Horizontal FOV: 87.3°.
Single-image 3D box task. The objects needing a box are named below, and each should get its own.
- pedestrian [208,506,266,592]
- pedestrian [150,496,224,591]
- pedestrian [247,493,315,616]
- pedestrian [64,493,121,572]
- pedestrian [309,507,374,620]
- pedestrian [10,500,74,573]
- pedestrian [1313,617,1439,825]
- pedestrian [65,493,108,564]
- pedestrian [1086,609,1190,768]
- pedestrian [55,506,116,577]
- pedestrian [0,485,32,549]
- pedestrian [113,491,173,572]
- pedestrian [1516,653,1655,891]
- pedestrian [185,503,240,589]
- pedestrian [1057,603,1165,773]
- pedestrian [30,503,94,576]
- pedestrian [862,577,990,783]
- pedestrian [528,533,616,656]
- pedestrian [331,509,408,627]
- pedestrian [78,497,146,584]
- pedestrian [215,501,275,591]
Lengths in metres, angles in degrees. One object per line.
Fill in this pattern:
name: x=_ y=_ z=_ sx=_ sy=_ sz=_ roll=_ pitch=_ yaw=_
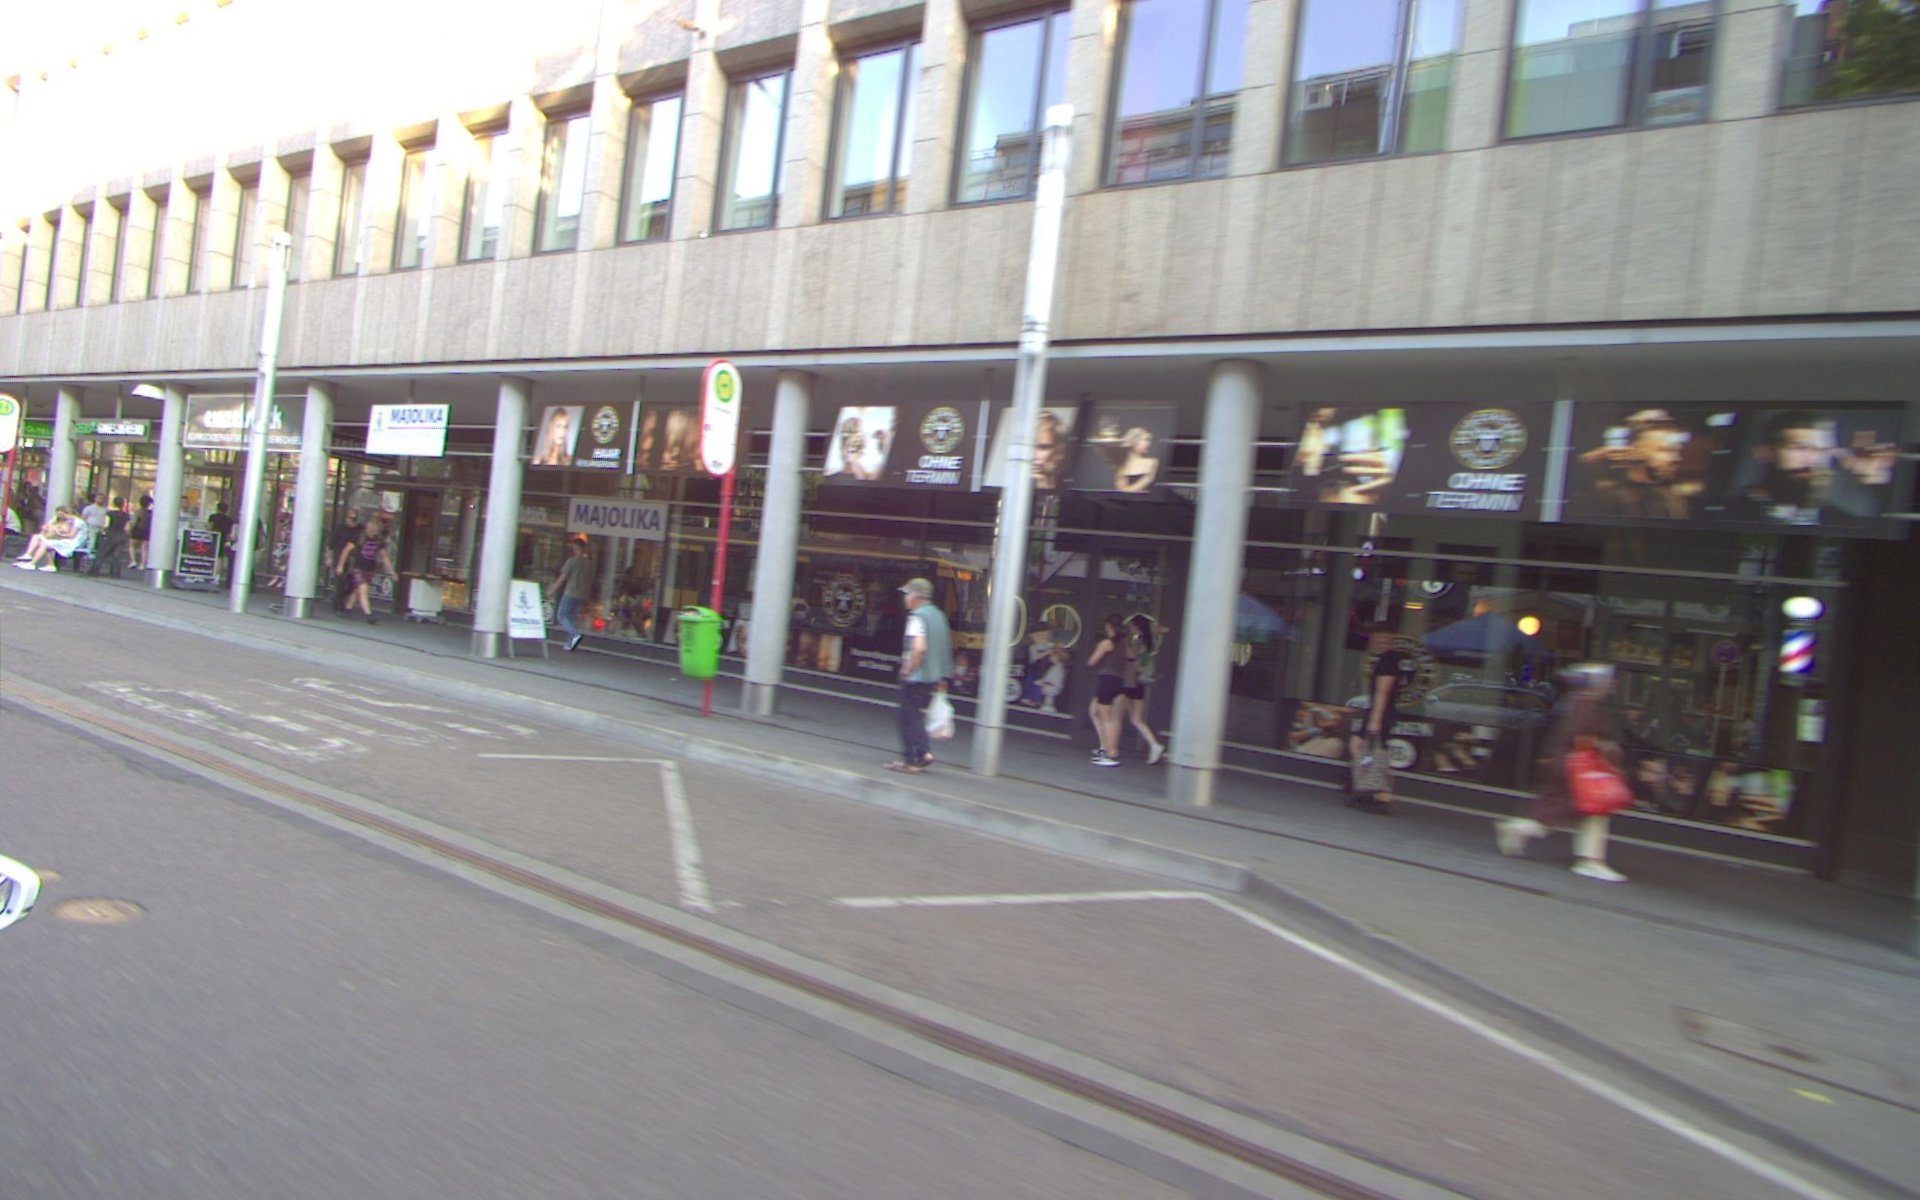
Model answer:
pedestrian: x=-15.151 y=-1.059 z=21.081 sx=0.669 sy=1.682 sz=0.648 roll=7 pitch=1 yaw=32
pedestrian: x=-15.981 y=-1.158 z=20.808 sx=0.844 sy=1.820 sz=0.845 roll=6 pitch=1 yaw=31
pedestrian: x=-11.389 y=-0.763 z=16.873 sx=0.644 sy=1.968 sz=0.578 roll=6 pitch=1 yaw=30
pedestrian: x=-19.616 y=-1.522 z=22.751 sx=0.710 sy=1.682 sz=0.688 roll=6 pitch=1 yaw=32
pedestrian: x=-11.093 y=-0.649 z=18.049 sx=0.672 sy=1.913 sz=0.616 roll=6 pitch=1 yaw=32
pedestrian: x=-18.381 y=-1.267 z=20.149 sx=0.523 sy=1.330 sz=0.719 roll=6 pitch=-1 yaw=32
pedestrian: x=3.941 y=1.110 z=9.520 sx=0.849 sy=1.794 sz=0.674 roll=6 pitch=1 yaw=30
pedestrian: x=-22.621 y=-1.850 z=26.050 sx=0.607 sy=1.753 sz=0.571 roll=7 pitch=1 yaw=29
pedestrian: x=2.028 y=0.985 z=11.430 sx=0.805 sy=1.664 sz=0.711 roll=6 pitch=1 yaw=29
pedestrian: x=-18.108 y=-1.208 z=20.845 sx=0.523 sy=1.330 sz=0.719 roll=6 pitch=-1 yaw=32
pedestrian: x=-27.206 y=-2.389 z=28.861 sx=0.607 sy=1.753 sz=0.571 roll=7 pitch=1 yaw=29
pedestrian: x=-19.499 y=-1.628 z=24.017 sx=0.761 sy=1.794 sz=0.774 roll=6 pitch=1 yaw=29
pedestrian: x=4.838 y=1.287 z=7.830 sx=0.728 sy=1.664 sz=0.748 roll=6 pitch=1 yaw=30
pedestrian: x=-16.360 y=-1.179 z=22.010 sx=0.760 sy=1.775 sz=0.583 roll=7 pitch=1 yaw=29
pedestrian: x=1.606 y=0.914 z=10.669 sx=0.775 sy=1.664 sz=0.681 roll=6 pitch=1 yaw=29
pedestrian: x=-17.853 y=-1.204 z=19.997 sx=0.516 sy=1.330 sz=0.719 roll=6 pitch=-1 yaw=32
pedestrian: x=-0.278 y=0.668 z=8.503 sx=0.627 sy=1.606 sz=0.670 roll=7 pitch=-2 yaw=30
pedestrian: x=-6.424 y=-0.089 z=16.675 sx=0.884 sy=1.913 sz=0.845 roll=6 pitch=1 yaw=31
pedestrian: x=-10.128 y=-0.546 z=17.250 sx=0.783 sy=1.913 sz=0.707 roll=6 pitch=1 yaw=31
pedestrian: x=-16.668 y=-1.163 z=19.779 sx=0.724 sy=1.590 sz=0.725 roll=6 pitch=1 yaw=32
pedestrian: x=-16.001 y=-1.206 z=22.519 sx=0.760 sy=1.906 sz=0.688 roll=7 pitch=1 yaw=29
